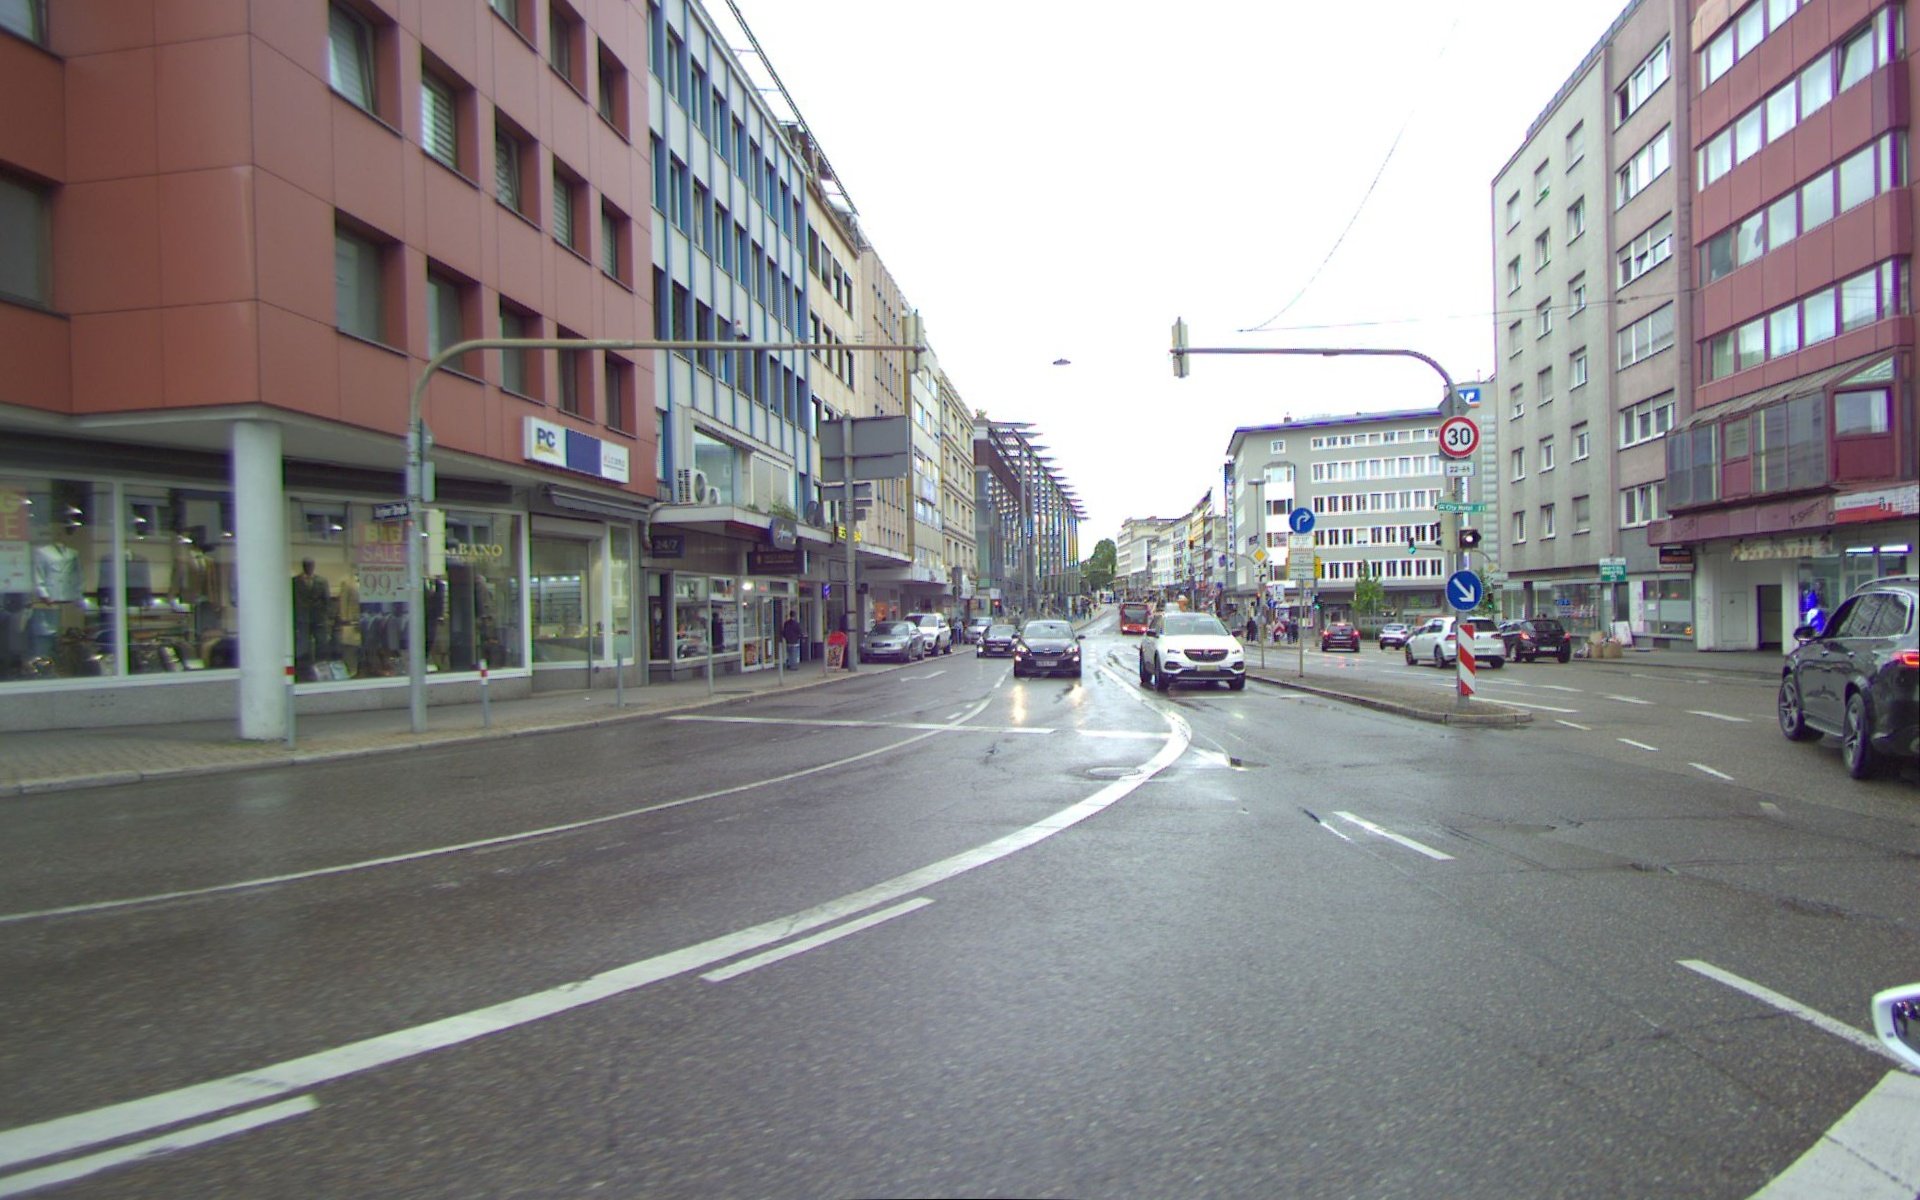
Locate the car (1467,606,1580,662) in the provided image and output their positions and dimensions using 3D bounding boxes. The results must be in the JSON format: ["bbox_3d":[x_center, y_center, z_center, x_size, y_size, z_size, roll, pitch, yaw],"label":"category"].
[{"bbox_3d":[19.098,1.093,34.293,1.792,1.680,4.498,3,0,8],"label":"car"}]

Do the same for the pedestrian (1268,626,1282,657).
[{"bbox_3d":[20.522,2.694,65.385,0.798,2.040,0.855,1,-1,19],"label":"pedestrian"}]

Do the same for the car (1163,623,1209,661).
[{"bbox_3d":[12.568,2.291,56.066,1.959,1.813,4.738,2,1,6],"label":"car"}]

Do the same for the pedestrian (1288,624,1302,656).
[{"bbox_3d":[21.367,2.534,64.067,0.798,2.040,0.855,1,-1,19],"label":"pedestrian"}]

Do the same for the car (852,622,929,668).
[{"bbox_3d":[-2.375,1.529,35.515,1.960,1.426,4.738,1,0,5],"label":"car"}]

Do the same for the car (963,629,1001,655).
[{"bbox_3d":[1.386,2.503,60.803,1.960,1.501,4.739,0,-2,5],"label":"car"}]

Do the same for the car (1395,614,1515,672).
[{"bbox_3d":[14.643,1.216,29.997,1.841,1.514,4.403,2,0,7],"label":"car"}]

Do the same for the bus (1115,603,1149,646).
[{"bbox_3d":[17.049,2.535,100.052,2.860,4.005,9.493,0,-2,7],"label":"bus"}]

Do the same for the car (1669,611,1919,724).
[{"bbox_3d":[12.208,0.945,14.885,1.737,1.416,4.001,1,-2,19],"label":"car"}]

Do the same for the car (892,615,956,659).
[{"bbox_3d":[-1.425,1.487,41.809,1.959,1.640,4.738,1,0,6],"label":"car"}]

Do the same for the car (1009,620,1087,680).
[{"bbox_3d":[2.417,1.346,27.715,1.960,1.501,4.739,0,-2,5],"label":"car"}]

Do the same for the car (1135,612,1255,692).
[{"bbox_3d":[5.116,1.119,22.492,1.960,1.577,4.739,0,-2,5],"label":"car"}]

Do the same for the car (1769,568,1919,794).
[{"bbox_3d":[9.519,0.651,9.709,2.010,1.823,4.652,-1,-1,31],"label":"car"}]

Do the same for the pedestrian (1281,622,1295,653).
[{"bbox_3d":[21.656,2.472,66.316,0.798,2.040,0.855,1,-1,19],"label":"pedestrian"}]

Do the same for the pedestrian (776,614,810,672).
[{"bbox_3d":[-4.854,1.250,29.235,0.813,1.647,0.724,1,0,4],"label":"pedestrian"}]

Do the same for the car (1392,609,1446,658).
[{"bbox_3d":[23.250,1.648,51.064,2.206,2.257,5.426,2,0,23],"label":"car"}]

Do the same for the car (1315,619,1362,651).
[{"bbox_3d":[18.912,1.758,50.344,1.960,1.505,4.239,1,-2,17],"label":"car"}]

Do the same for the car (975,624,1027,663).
[{"bbox_3d":[1.756,1.787,41.512,1.960,1.501,4.739,0,-2,5],"label":"car"}]

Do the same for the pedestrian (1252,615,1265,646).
[{"bbox_3d":[20.179,2.053,67.898,0.798,2.040,0.855,1,-1,19],"label":"pedestrian"}]

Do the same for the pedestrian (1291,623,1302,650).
[{"bbox_3d":[26.699,2.896,79.768,0.798,2.040,0.855,1,-1,19],"label":"pedestrian"}]

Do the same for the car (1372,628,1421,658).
[{"bbox_3d":[25.072,2.434,57.641,1.897,1.535,4.652,4,1,31],"label":"car"}]

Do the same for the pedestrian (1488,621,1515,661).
[{"bbox_3d":[27.794,2.109,51.560,0.842,2.040,0.810,2,-1,-20],"label":"pedestrian"}]

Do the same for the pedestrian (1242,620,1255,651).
[{"bbox_3d":[19.110,2.338,66.520,0.798,2.040,0.855,1,-1,19],"label":"pedestrian"}]
